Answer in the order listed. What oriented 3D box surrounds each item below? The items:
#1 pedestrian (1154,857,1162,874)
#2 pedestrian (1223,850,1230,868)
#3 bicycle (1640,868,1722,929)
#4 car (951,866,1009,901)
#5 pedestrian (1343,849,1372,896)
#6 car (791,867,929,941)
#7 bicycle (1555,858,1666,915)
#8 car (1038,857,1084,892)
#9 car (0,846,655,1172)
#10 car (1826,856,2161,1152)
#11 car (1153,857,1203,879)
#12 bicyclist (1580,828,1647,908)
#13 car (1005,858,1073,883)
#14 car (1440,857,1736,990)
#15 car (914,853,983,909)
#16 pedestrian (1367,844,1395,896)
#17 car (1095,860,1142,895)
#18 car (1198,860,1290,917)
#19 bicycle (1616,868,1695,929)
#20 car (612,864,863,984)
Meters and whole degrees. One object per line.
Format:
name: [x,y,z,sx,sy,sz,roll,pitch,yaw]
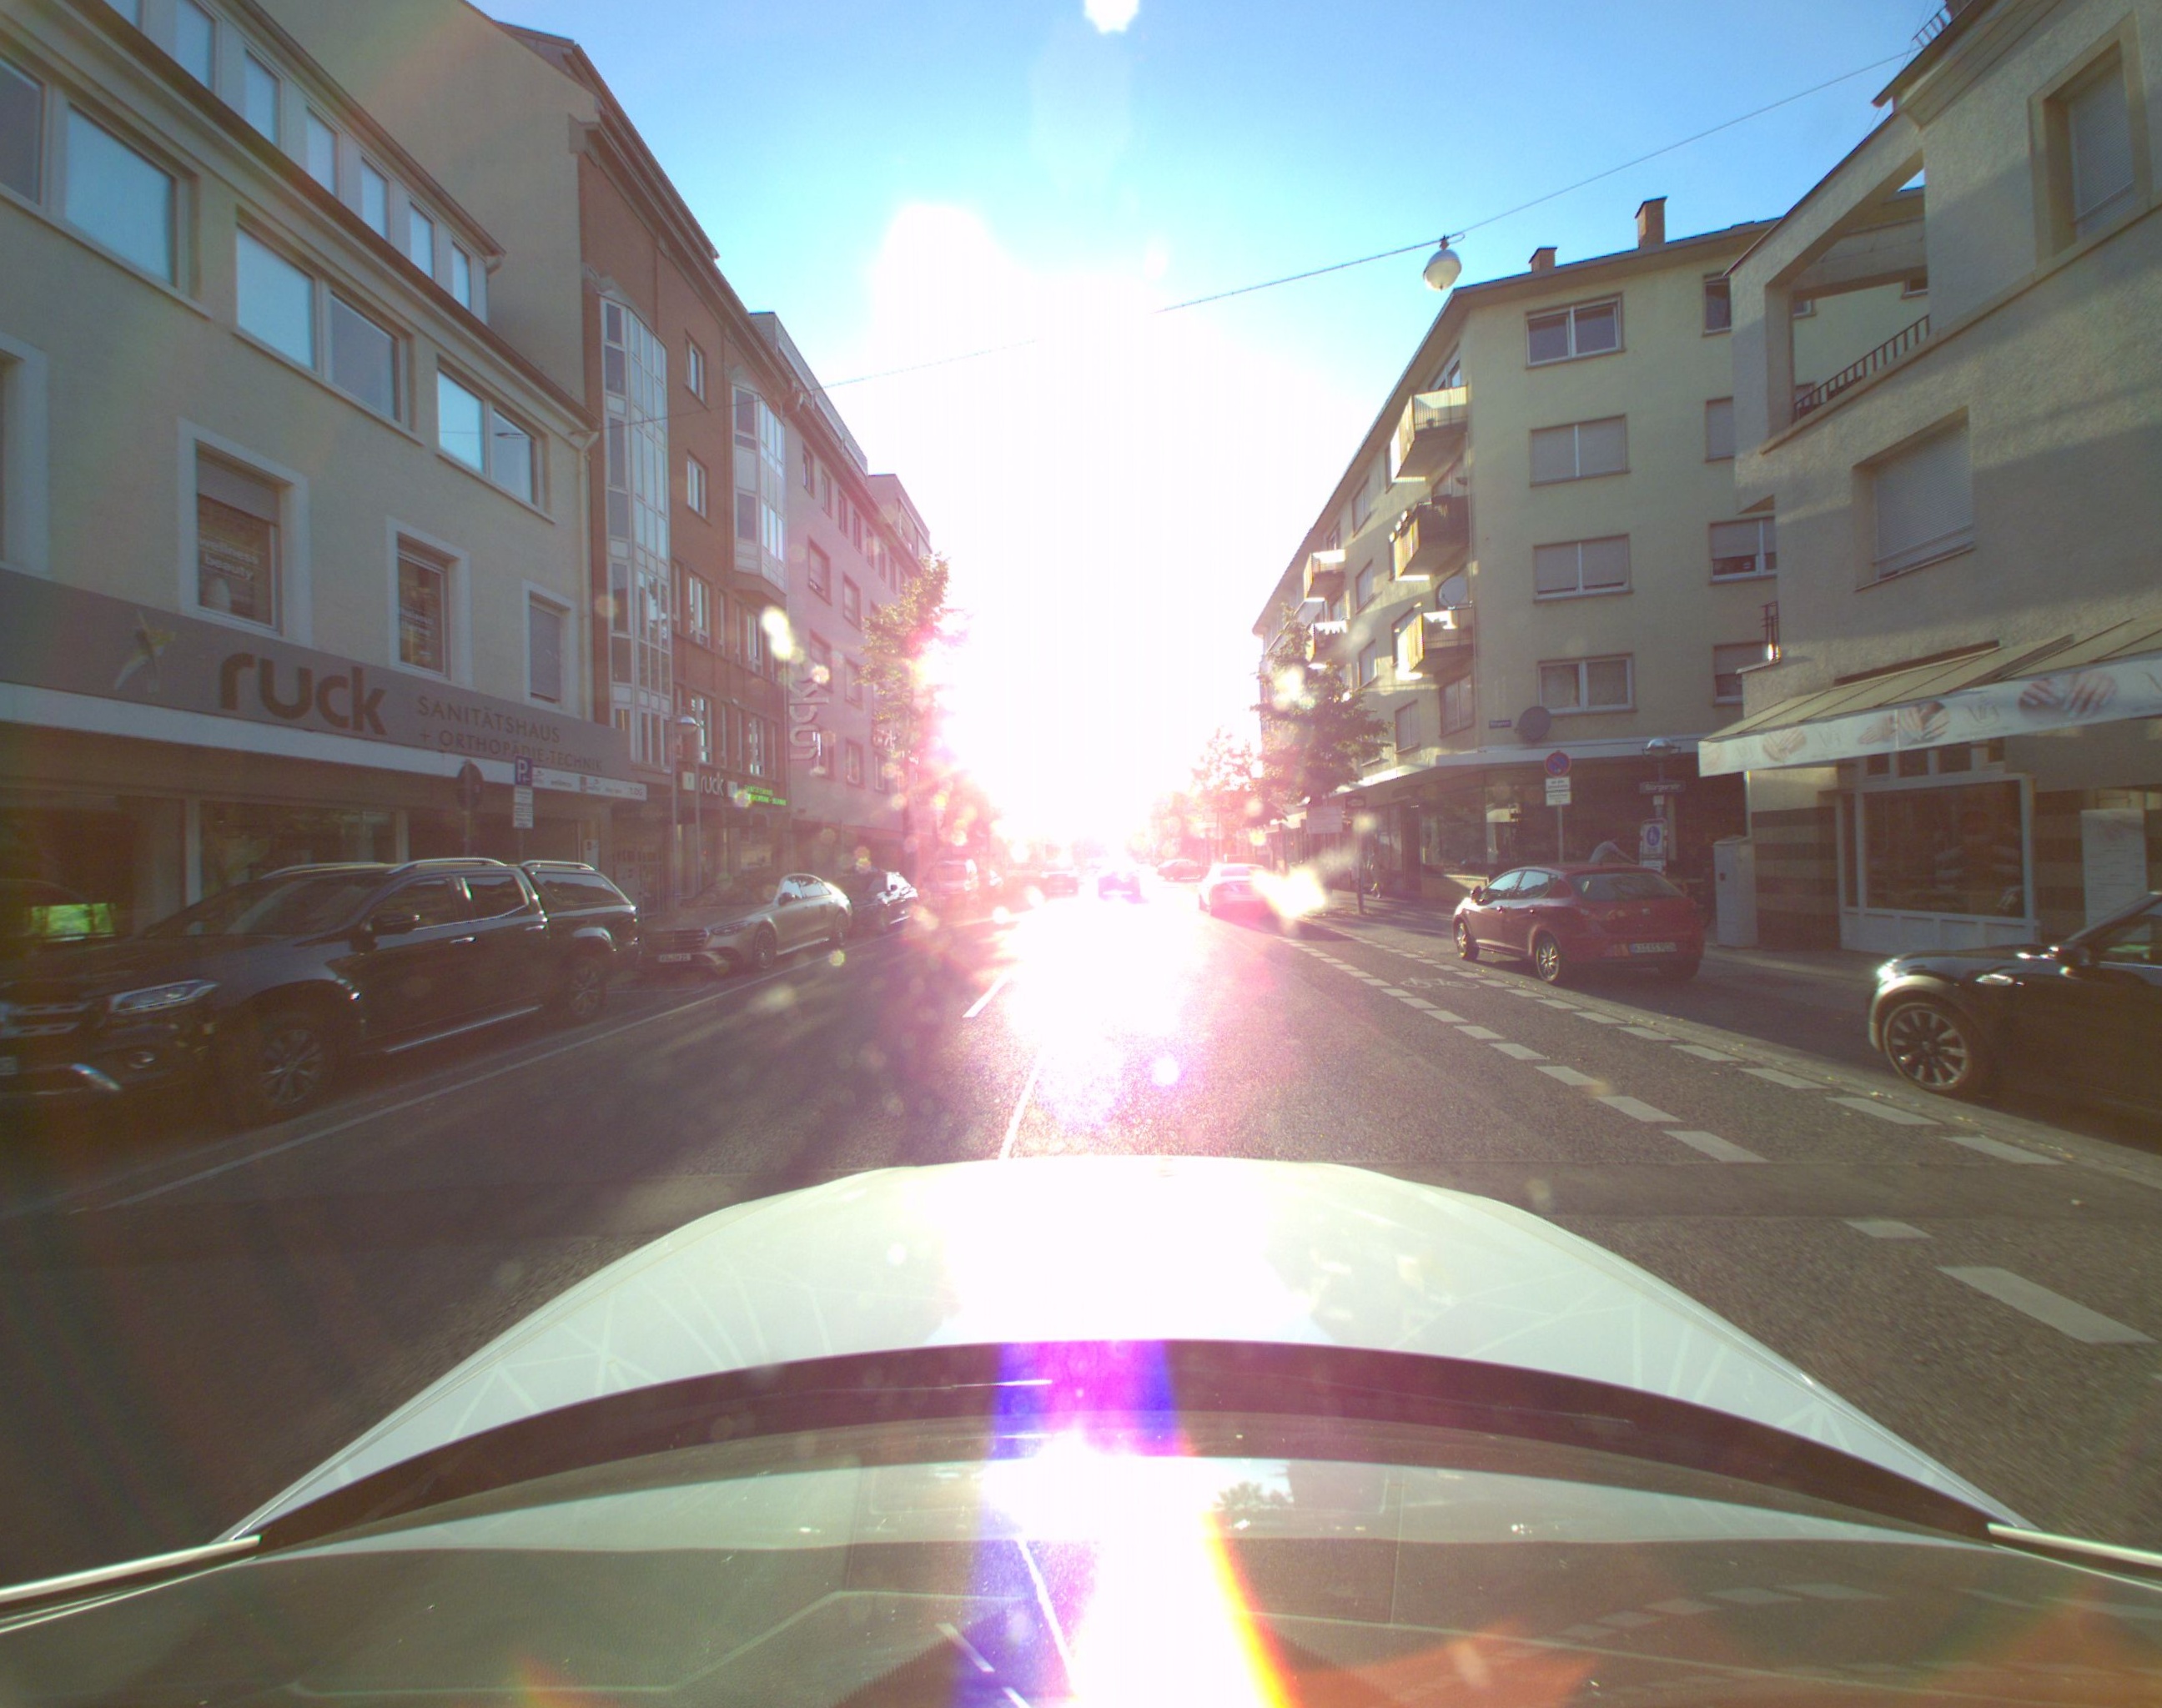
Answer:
pedestrian: [7.530,1.125,79.633,0.575,1.644,0.524,-1,0,-19]
pedestrian: [13.971,0.520,78.136,0.496,1.715,0.460,-1,0,-17]
bicycle: [11.034,0.788,15.039,0.286,1.039,1.718,-1,0,2]
car: [-4.323,1.231,35.462,1.826,1.328,4.125,-2,0,2]
pedestrian: [9.519,0.632,28.035,0.685,1.559,0.863,-2,-1,1]
car: [-5.229,1.121,19.959,1.820,1.439,4.557,-4,-1,3]
bicycle: [11.598,0.718,17.904,1.908,1.155,0.656,-3,-1,23]
car: [-0.963,1.005,41.337,1.914,1.602,4.329,-1,1,3]
car: [-6.226,0.912,7.297,1.821,1.810,5.349,-3,0,1]
car: [6.199,0.750,4.042,1.627,1.424,3.760,-2,0,2]
car: [7.190,1.018,60.409,3.355,1.427,1.560,-2,1,-19]
bicyclist: [11.672,0.316,17.874,1.082,1.702,0.656,-2,-1,23]
car: [-2.914,1.123,56.324,4.329,1.602,1.914,-2,0,-23]
car: [6.481,0.783,11.002,1.696,1.436,3.935,-2,0,3]
car: [-4.723,0.927,29.561,1.827,1.854,4.122,-1,-1,0]
pedestrian: [10.231,0.530,27.801,0.684,1.721,0.718,-3,-1,9]
car: [1.667,0.970,35.637,1.875,1.415,4.328,-1,0,3]
car: [4.476,0.898,23.008,1.914,1.415,4.552,1,0,3]
bicycle: [10.585,0.795,15.070,0.286,1.039,1.718,-1,0,2]
car: [-5.585,1.032,14.162,1.819,1.556,5.141,-3,0,4]
